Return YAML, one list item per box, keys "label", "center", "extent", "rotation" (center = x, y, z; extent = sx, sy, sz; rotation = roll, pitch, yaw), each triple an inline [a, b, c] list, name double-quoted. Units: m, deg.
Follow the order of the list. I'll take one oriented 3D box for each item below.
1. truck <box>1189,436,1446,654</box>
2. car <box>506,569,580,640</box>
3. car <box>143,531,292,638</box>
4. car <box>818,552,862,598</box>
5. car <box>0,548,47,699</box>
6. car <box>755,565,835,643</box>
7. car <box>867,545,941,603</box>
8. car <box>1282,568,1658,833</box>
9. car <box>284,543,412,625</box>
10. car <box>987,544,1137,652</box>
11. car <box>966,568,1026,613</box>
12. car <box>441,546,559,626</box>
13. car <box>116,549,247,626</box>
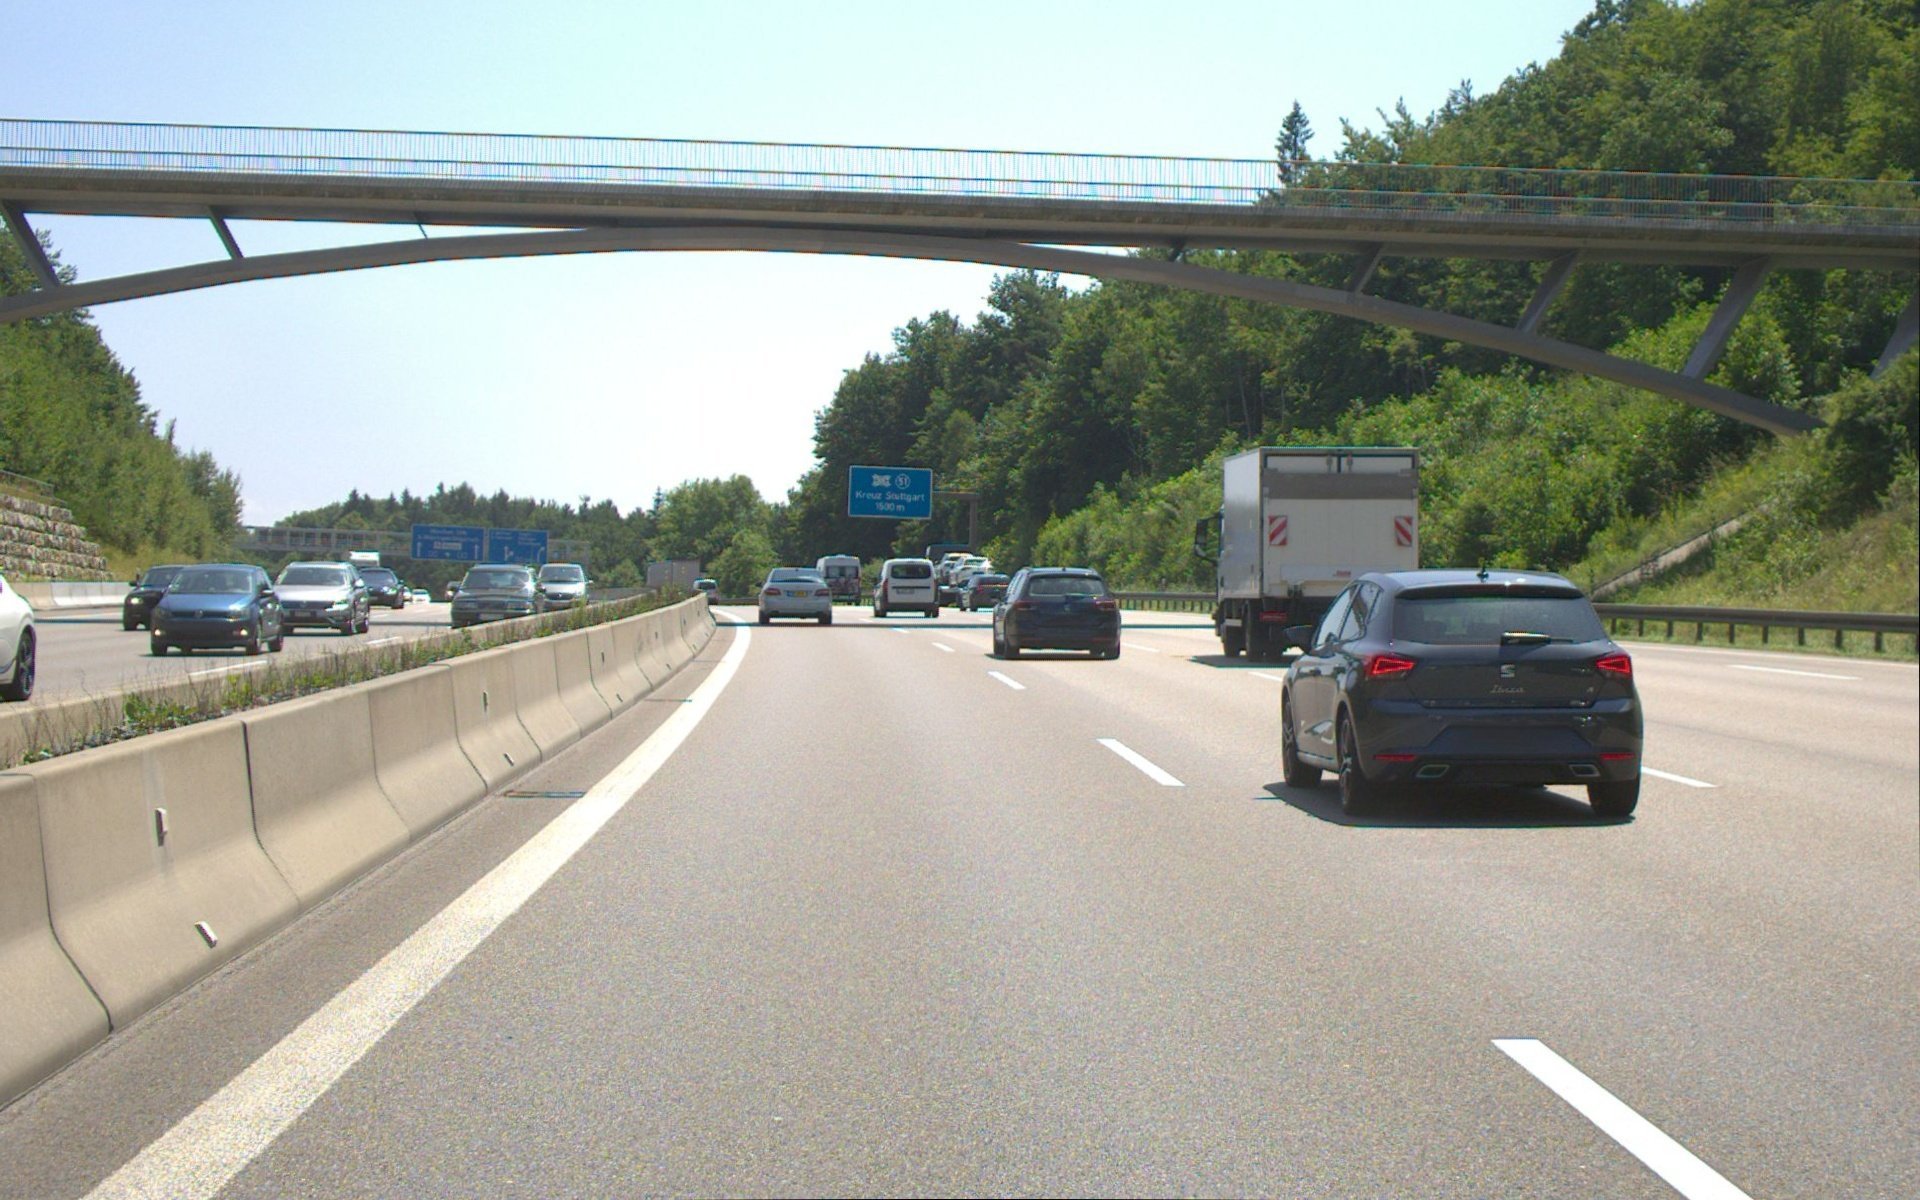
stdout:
- label: "truck"
  center: [5.464, -0.875, 53.933]
  extent: [2.985, 3.156, 7.575]
  rotation: [0, 1, -2]
- label: "car"
  center: [-12.409, 0.152, 102.508]
  extent: [1.993, 2.007, 4.000]
  rotation: [2, -1, -5]
- label: "car"
  center: [-11.853, -0.282, 55.069]
  extent: [1.653, 1.545, 4.001]
  rotation: [2, 2, -3]
- label: "car"
  center: [-6.237, -1.287, 178.233]
  extent: [2.265, 2.363, 4.702]
  rotation: [0, 0, -2]
- label: "car"
  center: [-10.555, 0.244, 34.093]
  extent: [1.900, 1.491, 4.806]
  rotation: [0, 1, -2]
- label: "car"
  center: [-4.279, 0.135, 89.317]
  extent: [2.012, 1.839, 4.000]
  rotation: [1, -2, -2]
- label: "car"
  center: [-1.751, -0.824, 106.653]
  extent: [2.103, 1.738, 4.688]
  rotation: [0, 1, -3]
- label: "car"
  center: [3.025, 0.539, 21.147]
  extent: [1.708, 1.428, 4.000]
  rotation: [1, 1, 0]
- label: "car"
  center: [-12.571, -0.347, 70.817]
  extent: [1.993, 1.612, 4.000]
  rotation: [0, 1, -1]
- label: "car"
  center: [1.582, -0.075, 54.993]
  extent: [1.993, 1.628, 4.760]
  rotation: [0, 1, -3]
- label: "car"
  center: [1.332, -0.347, 128.724]
  extent: [1.993, 1.587, 4.000]
  rotation: [2, 0, -2]
- label: "car"
  center: [-9.518, -0.314, 71.399]
  extent: [1.993, 1.612, 4.000]
  rotation: [0, 1, -1]
- label: "car"
  center: [-16.848, -0.290, 74.569]
  extent: [1.993, 1.612, 4.000]
  rotation: [0, 1, -1]
